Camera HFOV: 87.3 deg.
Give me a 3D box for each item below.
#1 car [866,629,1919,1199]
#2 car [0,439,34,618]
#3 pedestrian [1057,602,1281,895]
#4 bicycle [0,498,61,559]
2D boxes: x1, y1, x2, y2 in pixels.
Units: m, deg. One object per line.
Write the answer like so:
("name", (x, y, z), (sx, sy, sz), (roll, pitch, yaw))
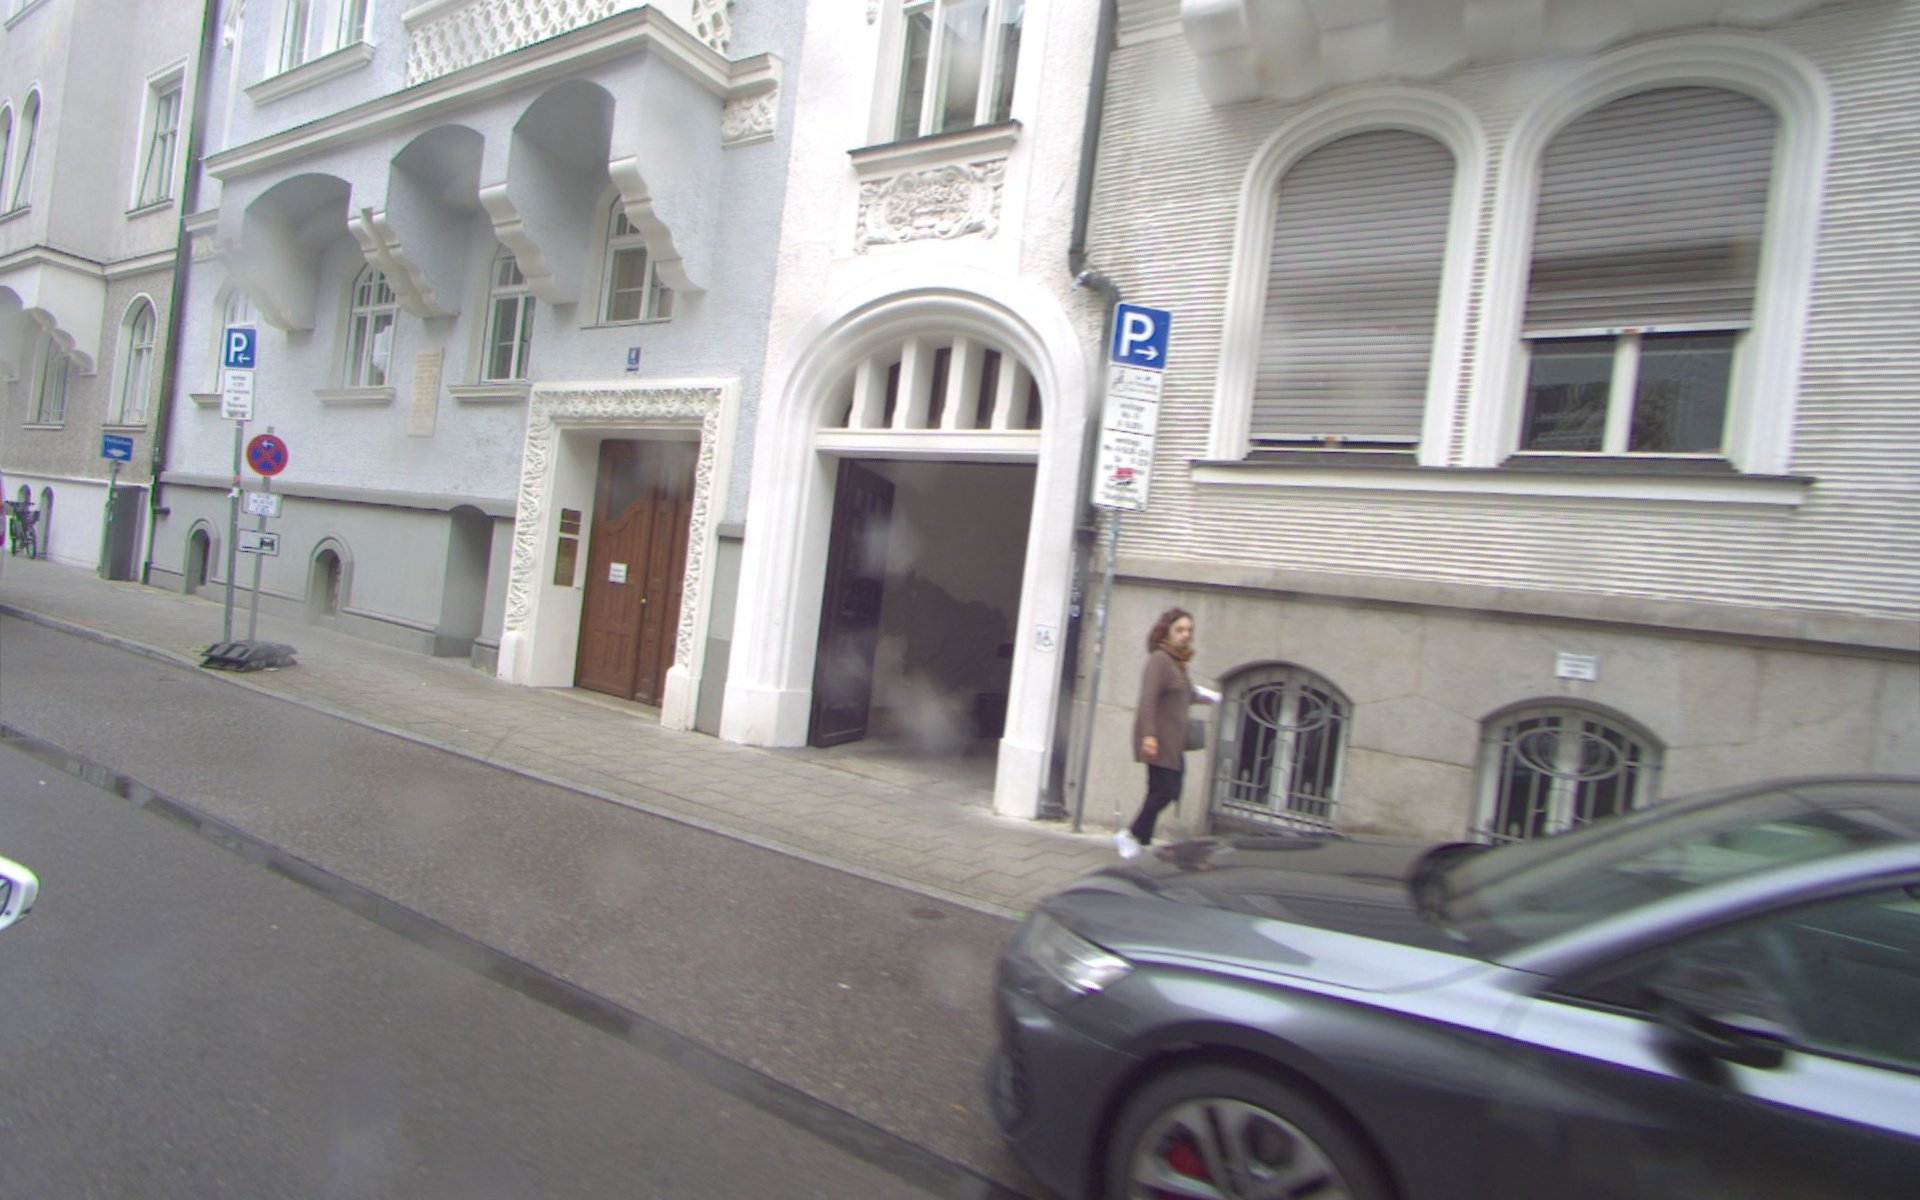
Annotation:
("car", (1.988, 1.057, 2.310), (4.018, 1.452, 1.756), (7, 0, 31))
("car", (-13.462, -1.118, 12.105), (4.909, 2.039, 1.962), (7, 0, 30))
("pedestrian", (1.311, 0.847, 6.256), (1.000, 1.575, 0.921), (5, 2, 32))
("bicycle", (-19.415, -1.499, 20.804), (2.003, 1.108, 0.694), (7, 3, 33))
